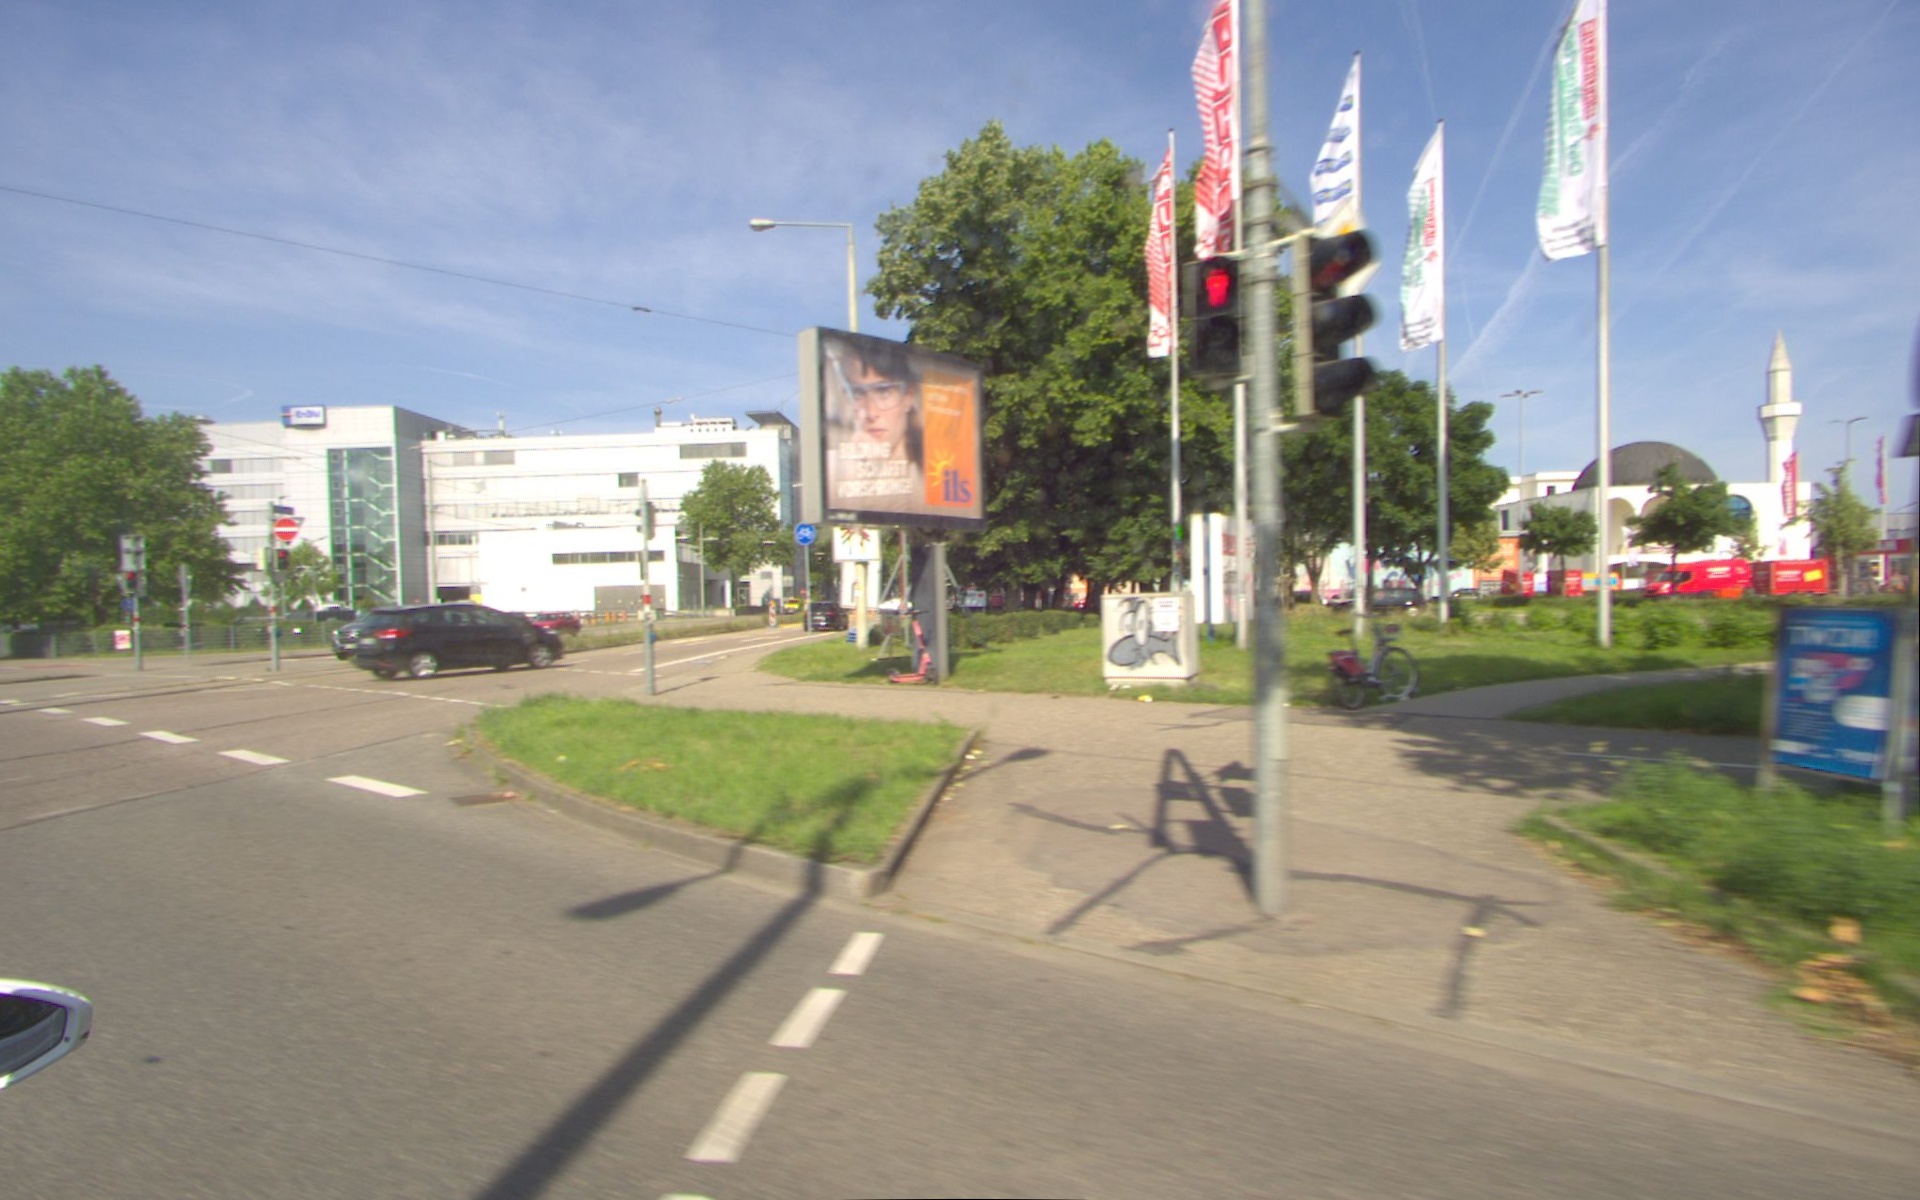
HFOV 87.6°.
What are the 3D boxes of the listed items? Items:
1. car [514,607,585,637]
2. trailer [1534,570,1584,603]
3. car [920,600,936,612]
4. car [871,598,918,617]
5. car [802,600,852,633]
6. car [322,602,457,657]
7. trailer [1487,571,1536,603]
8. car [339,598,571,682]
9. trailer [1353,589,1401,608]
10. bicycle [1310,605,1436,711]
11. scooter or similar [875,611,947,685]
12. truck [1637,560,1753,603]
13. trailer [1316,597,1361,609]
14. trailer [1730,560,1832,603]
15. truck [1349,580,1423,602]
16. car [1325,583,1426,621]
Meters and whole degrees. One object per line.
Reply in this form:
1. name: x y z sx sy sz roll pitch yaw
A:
1. car: -21.736 1.126 53.212 1.747 1.463 4.626 -1 0 1
2. trailer: 45.302 -1.012 75.841 1.521 2.390 4.409 0 1 7
3. car: -4.152 0.758 130.966 1.815 1.530 4.343 -1 0 2
4. car: -6.429 0.758 98.997 4.536 1.711 1.915 -1 1 -2
5. car: -6.680 0.788 50.629 1.815 1.530 4.393 -1 0 1
6. car: -19.523 0.952 34.544 1.878 1.711 4.626 -1 0 1
7. trailer: 42.221 -1.000 76.739 1.560 2.408 4.410 -1 1 4
8. car: -11.275 0.825 22.659 1.790 1.627 4.350 -1 1 35
9. trailer: 31.405 -0.111 75.552 1.560 1.304 4.411 -1 0 -2
10. bicycle: 4.973 0.663 12.008 1.768 1.123 0.500 -3 2 -35
11. scooter or similar: -0.792 0.756 16.056 1.109 1.141 0.423 -1 1 37
12. truck: 46.697 -1.162 63.664 5.913 2.644 2.019 -1 1 -1
13. trailer: 28.340 0.227 75.078 2.059 0.792 4.410 -1 0 5
14. trailer: 47.376 -1.056 57.845 4.326 2.409 1.751 -1 1 5
15. truck: 39.157 -0.802 92.187 5.888 1.855 2.188 -1 -1 3
16. car: 18.989 0.092 45.937 3.973 1.608 1.729 -1 0 9
